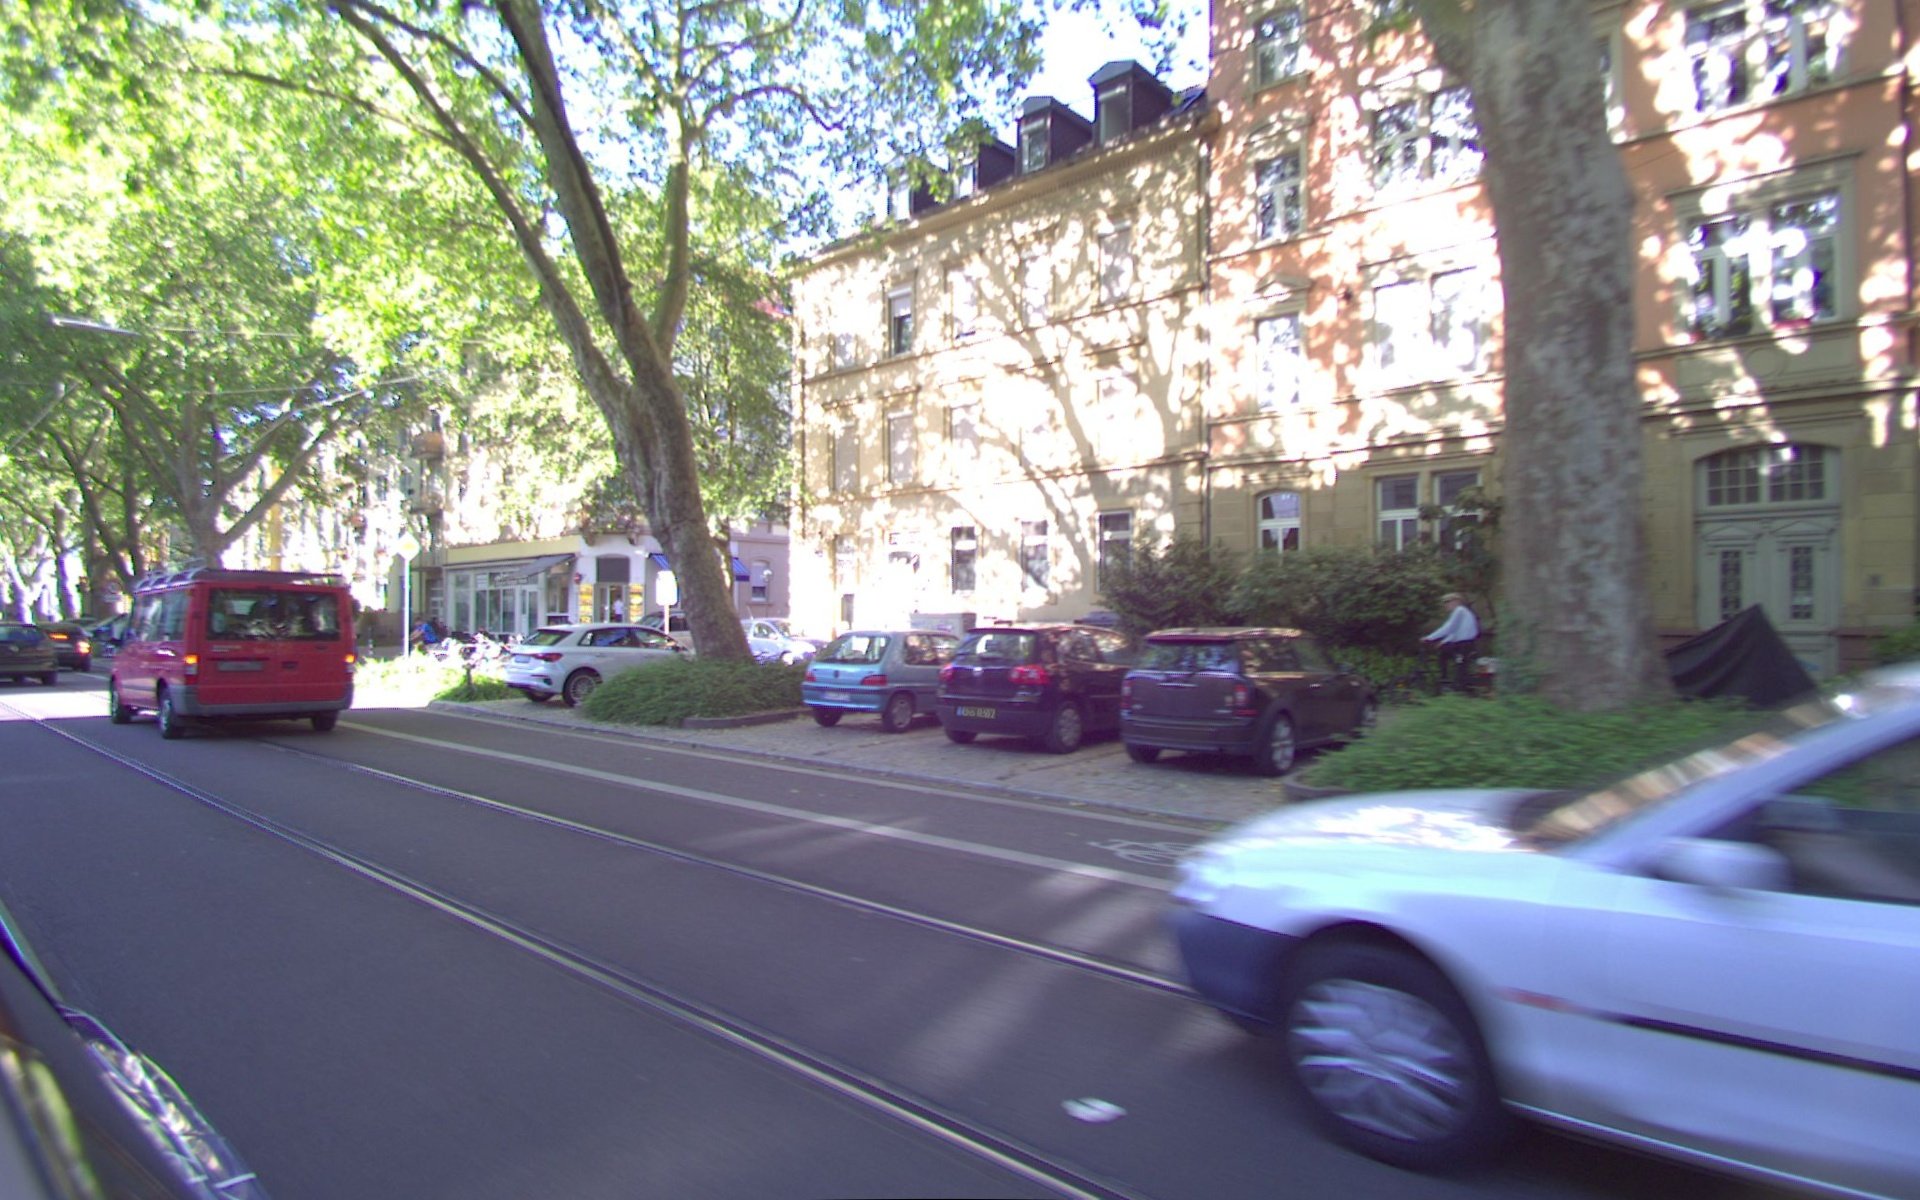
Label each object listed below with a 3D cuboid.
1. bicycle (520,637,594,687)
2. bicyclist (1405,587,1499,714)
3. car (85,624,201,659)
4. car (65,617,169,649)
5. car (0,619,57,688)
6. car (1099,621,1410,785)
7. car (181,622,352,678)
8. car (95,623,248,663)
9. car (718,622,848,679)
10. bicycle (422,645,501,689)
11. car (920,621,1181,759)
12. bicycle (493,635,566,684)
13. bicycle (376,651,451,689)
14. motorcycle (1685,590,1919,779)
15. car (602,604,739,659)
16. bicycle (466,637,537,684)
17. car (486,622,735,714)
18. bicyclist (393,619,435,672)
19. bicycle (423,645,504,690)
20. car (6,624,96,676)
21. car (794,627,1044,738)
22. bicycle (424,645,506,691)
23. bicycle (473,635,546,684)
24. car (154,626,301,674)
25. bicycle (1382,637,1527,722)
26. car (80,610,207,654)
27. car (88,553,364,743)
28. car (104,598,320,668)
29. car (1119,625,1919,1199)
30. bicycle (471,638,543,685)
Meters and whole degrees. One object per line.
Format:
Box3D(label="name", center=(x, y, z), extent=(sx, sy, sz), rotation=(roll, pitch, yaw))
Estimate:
Box3D(label="bicycle", center=(-9.322, 1.423, 23.409), extent=(1.536, 1.096, 0.397), rotation=(1, -2, -31))
Box3D(label="bicyclist", center=(7.228, 0.717, 14.860), extent=(1.048, 1.776, 0.822), rotation=(-1, -2, 41))
Box3D(label="car", center=(-38.549, 1.928, 47.793), extent=(1.868, 1.456, 4.016), rotation=(-2, 0, 41))
Box3D(label="car", center=(-48.503, 1.878, 58.279), extent=(1.999, 1.625, 4.309), rotation=(-2, 0, 41))
Box3D(label="car", center=(-22.508, 1.206, 23.560), extent=(3.720, 1.521, 1.700), rotation=(-1, -2, 40))
Box3D(label="car", center=(3.374, 0.968, 11.148), extent=(1.704, 1.471, 3.943), rotation=(-1, -2, 43))
Box3D(label="car", center=(-22.676, 1.584, 33.223), extent=(1.814, 1.725, 4.278), rotation=(-1, -2, 38))
Box3D(label="car", center=(-33.493, 1.792, 43.101), extent=(1.999, 1.456, 4.879), rotation=(-2, 0, 41))
Box3D(label="car", center=(-4.856, 1.331, 27.598), extent=(3.485, 1.471, 1.583), rotation=(-1, -2, 39))
Box3D(label="bicycle", center=(-13.024, 1.739, 26.460), extent=(1.830, 1.096, 0.397), rotation=(1, -2, -31))
Box3D(label="car", center=(1.313, 1.006, 12.984), extent=(1.764, 1.471, 3.956), rotation=(-1, -1, 32))
Box3D(label="bicycle", center=(-10.115, 1.389, 23.802), extent=(1.536, 1.096, 0.397), rotation=(1, -2, -31))
Box3D(label="bicycle", center=(-16.119, 2.053, 29.893), extent=(0.628, 1.039, 1.852), rotation=(-1, -2, 38))
Box3D(label="motorcycle", center=(8.610, 0.737, 9.351), extent=(3.010, 1.643, 1.041), rotation=(0, 1, 41))
Box3D(label="car", center=(-10.972, 1.157, 38.574), extent=(2.130, 1.894, 4.520), rotation=(2, 1, 44))
Box3D(label="bicycle", center=(-11.205, 1.466, 24.741), extent=(1.536, 1.096, 0.397), rotation=(1, -2, -31))
Box3D(label="car", center=(-6.306, 1.157, 18.602), extent=(1.878, 1.471, 3.946), rotation=(-1, -2, 40))
Box3D(label="bicyclist", center=(-16.102, 1.319, 29.849), extent=(0.735, 1.538, 0.858), rotation=(-2, -2, 39))
Box3D(label="bicycle", center=(-12.799, 1.720, 26.101), extent=(1.830, 1.096, 0.397), rotation=(1, -2, -31))
Box3D(label="car", center=(-28.208, 1.500, 31.369), extent=(3.689, 1.521, 1.618), rotation=(-1, -2, 41))
Box3D(label="car", center=(-0.459, 1.093, 14.873), extent=(1.602, 1.379, 3.952), rotation=(-1, -2, 36))
Box3D(label="bicycle", center=(-12.428, 1.699, 25.444), extent=(1.830, 1.096, 0.397), rotation=(1, -2, -31))
Box3D(label="bicycle", center=(-10.689, 1.399, 24.025), extent=(1.536, 1.096, 0.397), rotation=(1, -2, -31))
Box3D(label="car", center=(-24.955, 1.656, 34.567), extent=(1.746, 1.529, 3.733), rotation=(-1, -2, 38))
Box3D(label="bicycle", center=(7.241, 1.138, 14.882), extent=(1.779, 1.147, 0.734), rotation=(-1, -2, 41))
Box3D(label="car", center=(-40.082, 1.546, 49.757), extent=(1.920, 1.922, 4.581), rotation=(-2, 0, 40))
Box3D(label="car", center=(-10.475, 0.653, 14.294), extent=(4.956, 2.244, 1.898), rotation=(-1, -4, 40))
Box3D(label="car", center=(-29.182, 1.210, 39.721), extent=(1.999, 2.426, 6.533), rotation=(-2, 0, 41))
Box3D(label="car", center=(2.722, 0.747, 2.331), extent=(4.469, 1.369, 1.699), rotation=(-1, -2, 42))
Box3D(label="bicycle", center=(-10.925, 1.465, 24.406), extent=(1.536, 1.096, 0.397), rotation=(1, -2, -31))
